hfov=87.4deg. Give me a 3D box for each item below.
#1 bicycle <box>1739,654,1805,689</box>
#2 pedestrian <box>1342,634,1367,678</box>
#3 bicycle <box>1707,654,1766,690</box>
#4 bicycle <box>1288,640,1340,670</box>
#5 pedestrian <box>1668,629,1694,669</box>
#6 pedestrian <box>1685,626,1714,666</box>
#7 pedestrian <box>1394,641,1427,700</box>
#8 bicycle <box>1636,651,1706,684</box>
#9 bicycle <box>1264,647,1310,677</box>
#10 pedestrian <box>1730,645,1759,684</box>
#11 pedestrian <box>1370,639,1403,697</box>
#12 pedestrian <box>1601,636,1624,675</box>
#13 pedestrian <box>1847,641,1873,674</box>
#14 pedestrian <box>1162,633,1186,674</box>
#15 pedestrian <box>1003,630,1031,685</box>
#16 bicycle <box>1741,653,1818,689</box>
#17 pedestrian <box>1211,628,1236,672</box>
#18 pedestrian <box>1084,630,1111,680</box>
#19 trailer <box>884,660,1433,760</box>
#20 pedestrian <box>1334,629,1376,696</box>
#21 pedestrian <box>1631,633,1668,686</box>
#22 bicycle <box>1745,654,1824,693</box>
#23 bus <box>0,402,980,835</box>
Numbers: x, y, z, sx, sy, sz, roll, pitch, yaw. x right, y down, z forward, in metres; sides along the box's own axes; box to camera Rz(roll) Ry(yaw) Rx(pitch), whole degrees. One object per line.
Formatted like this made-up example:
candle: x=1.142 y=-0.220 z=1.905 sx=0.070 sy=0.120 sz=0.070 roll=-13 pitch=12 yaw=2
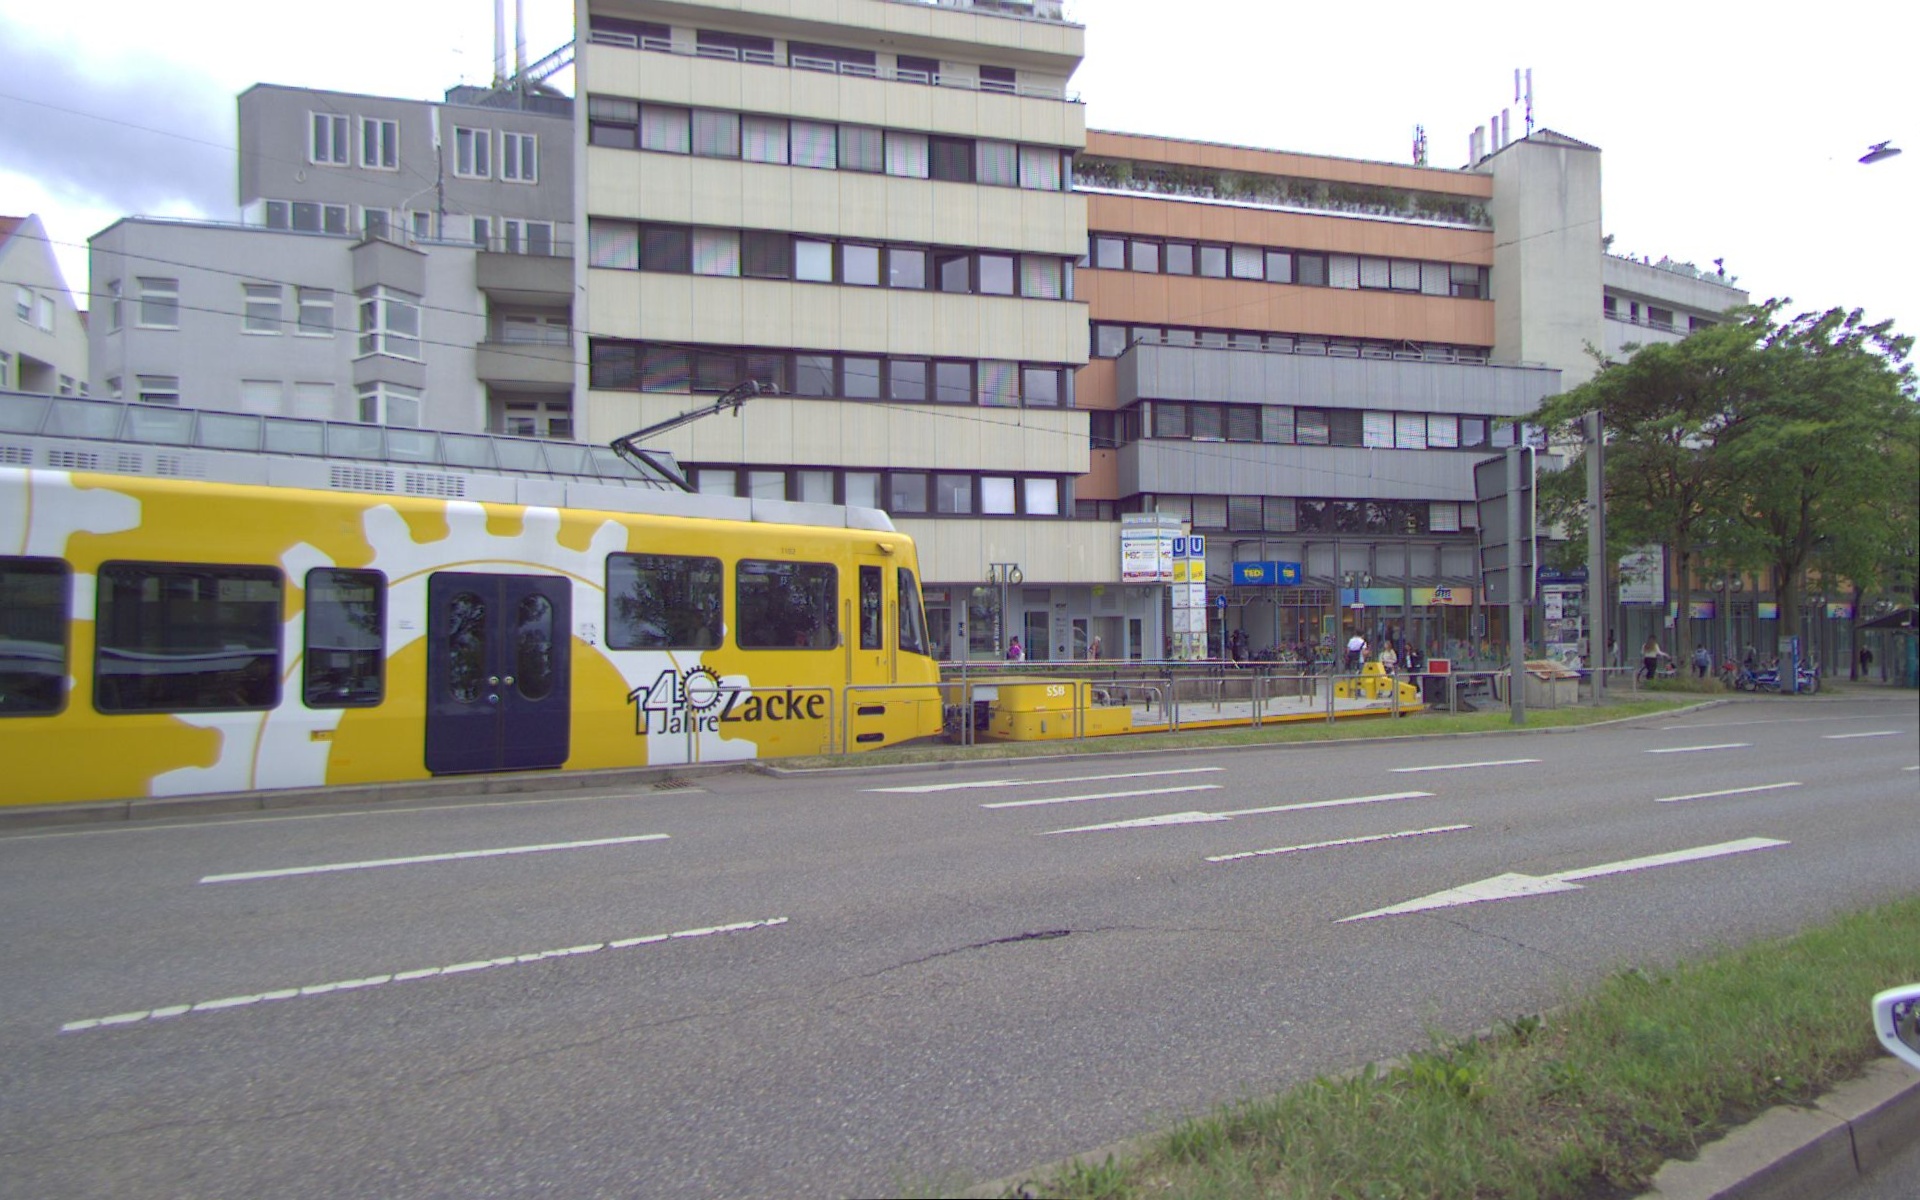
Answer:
bicycle: x=27.997 y=2.463 z=34.644 sx=1.655 sy=1.176 sz=0.605 roll=0 pitch=-2 yaw=10
pedestrian: x=15.726 y=2.227 z=40.025 sx=0.660 sy=1.723 sz=0.647 roll=1 pitch=-2 yaw=-29
bicycle: x=26.582 y=2.456 z=34.380 sx=1.934 sy=1.176 sz=0.602 roll=1 pitch=-2 yaw=-18
bicycle: x=14.401 y=2.230 z=40.886 sx=1.986 sy=1.176 sz=0.672 roll=1 pitch=-2 yaw=-18
pedestrian: x=30.332 y=2.063 z=42.247 sx=0.614 sy=1.621 sz=0.630 roll=2 pitch=0 yaw=-24
pedestrian: x=30.582 y=1.907 z=41.540 sx=0.698 sy=1.605 sz=0.664 roll=2 pitch=0 yaw=-27
pedestrian: x=12.492 y=1.949 z=27.849 sx=0.613 sy=1.594 sz=0.596 roll=1 pitch=-2 yaw=-31
bicycle: x=26.264 y=2.492 z=37.161 sx=1.978 sy=1.176 sz=0.674 roll=-1 pitch=-2 yaw=18
bicycle: x=13.089 y=2.465 z=40.308 sx=0.664 sy=1.176 sz=2.010 roll=1 pitch=-2 yaw=-20
pedestrian: x=36.183 y=2.952 z=46.339 sx=0.780 sy=1.739 sz=0.766 roll=2 pitch=0 yaw=-29
pedestrian: x=12.049 y=1.914 z=28.370 sx=0.613 sy=1.594 sz=0.596 roll=1 pitch=-2 yaw=-31
pedestrian: x=27.785 y=2.369 z=42.791 sx=0.610 sy=1.621 sz=0.635 roll=1 pitch=0 yaw=10
pedestrian: x=48.426 y=3.110 z=54.045 sx=0.811 sy=1.739 sz=0.767 roll=2 pitch=0 yaw=-26
pedestrian: x=9.330 y=2.349 z=43.848 sx=0.698 sy=1.739 sz=0.700 roll=2 pitch=0 yaw=-29
pedestrian: x=1.825 y=1.842 z=32.167 sx=0.730 sy=1.723 sz=0.618 roll=1 pitch=-2 yaw=-18
bicycle: x=27.289 y=2.354 z=33.475 sx=1.925 sy=1.176 sz=0.605 roll=0 pitch=-2 yaw=11
pedestrian: x=10.530 y=1.998 z=40.107 sx=0.627 sy=1.720 sz=0.700 roll=1 pitch=0 yaw=-29
pedestrian: x=4.793 y=1.902 z=35.009 sx=0.660 sy=1.723 sz=0.682 roll=1 pitch=-2 yaw=-29
trailer: x=4.445 y=1.922 z=19.572 sx=11.998 sy=1.350 sz=2.824 roll=2 pitch=-3 yaw=-33
pedestrian: x=11.391 y=1.797 z=28.989 sx=0.863 sy=1.902 sz=0.741 roll=2 pitch=-2 yaw=-29
pedestrian: x=23.457 y=2.020 z=34.178 sx=0.698 sy=1.735 sz=0.772 roll=2 pitch=0 yaw=-27
bicycle: x=26.838 y=2.375 z=32.716 sx=1.925 sy=1.177 sz=0.605 roll=1 pitch=0 yaw=12
bus: x=-8.710 y=0.254 z=11.378 sx=19.136 sy=3.910 sz=3.855 roll=2 pitch=-3 yaw=-33
